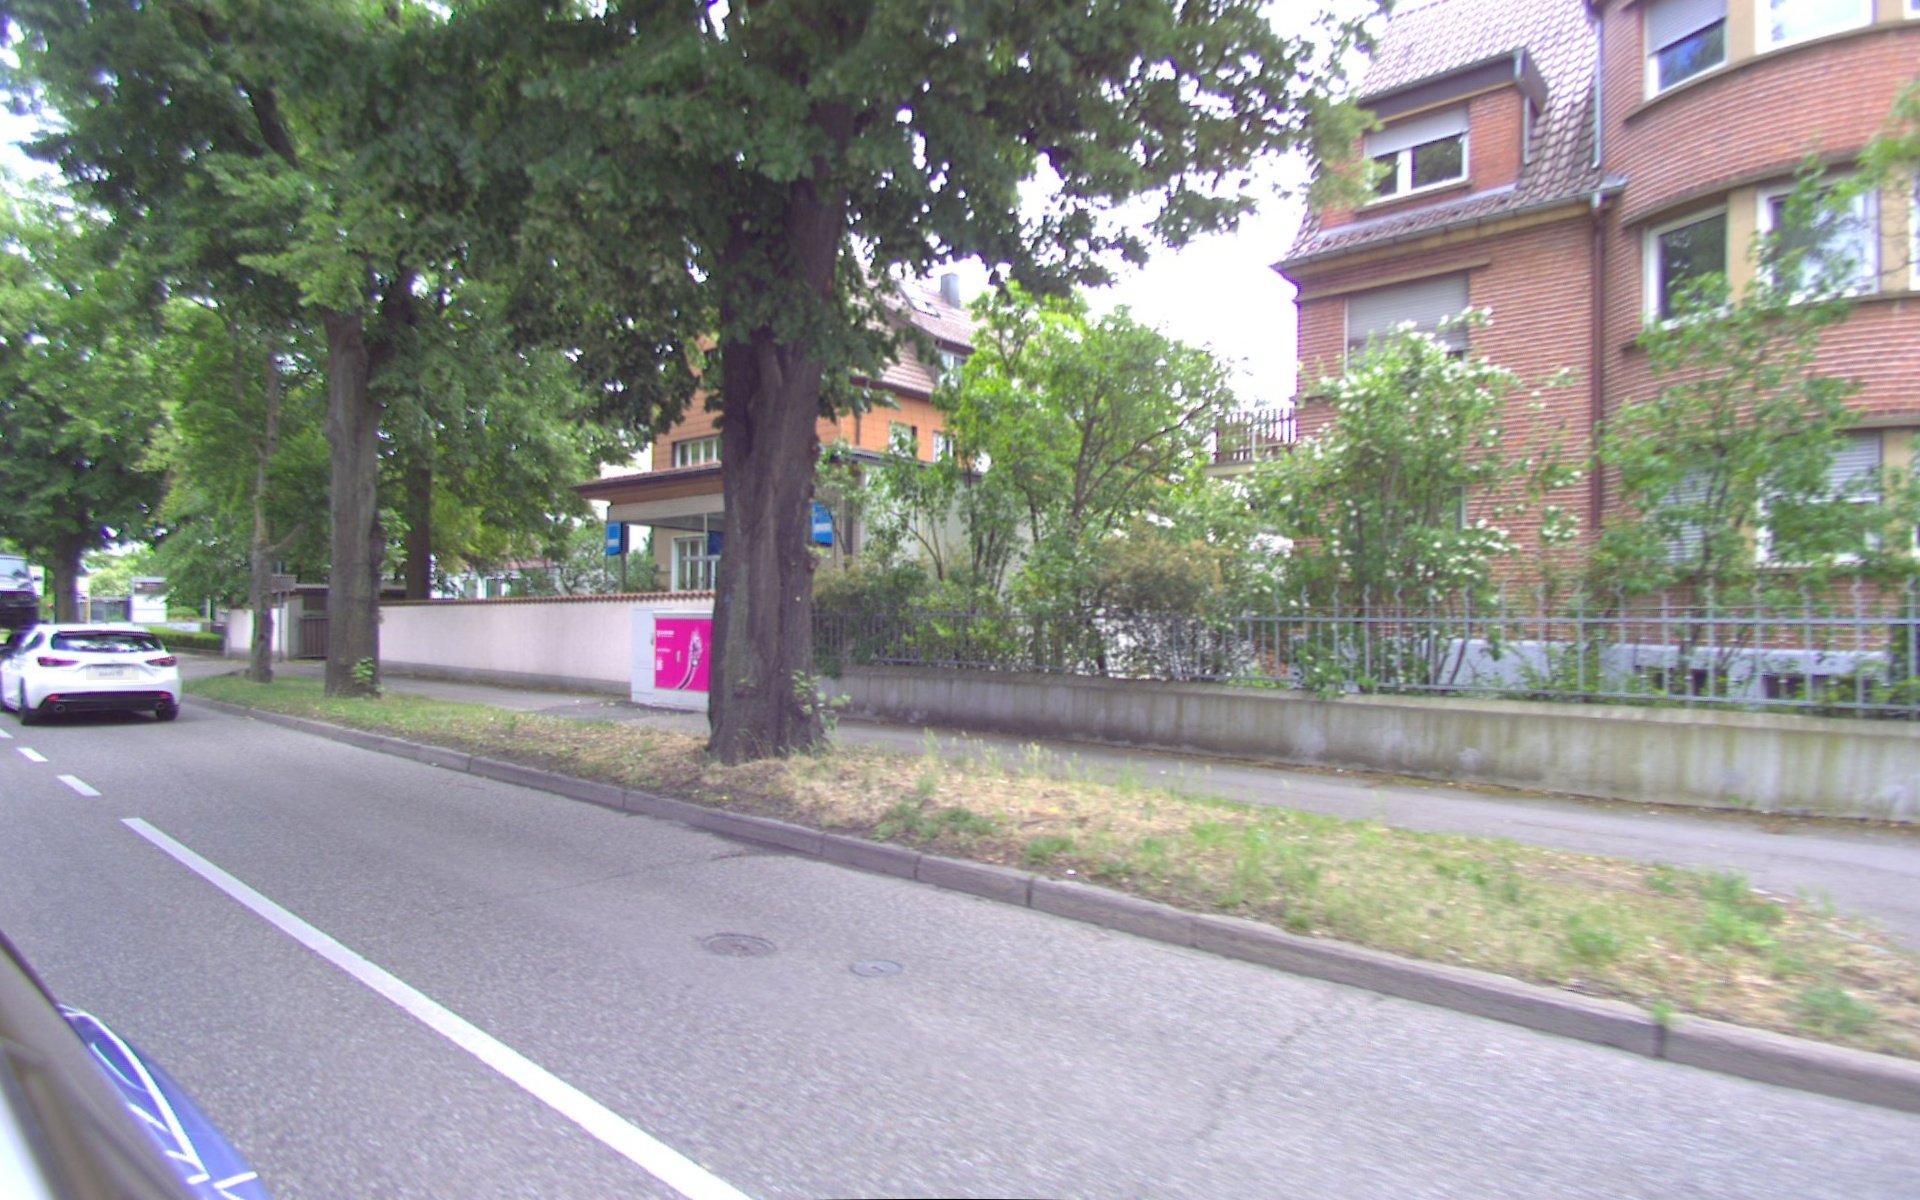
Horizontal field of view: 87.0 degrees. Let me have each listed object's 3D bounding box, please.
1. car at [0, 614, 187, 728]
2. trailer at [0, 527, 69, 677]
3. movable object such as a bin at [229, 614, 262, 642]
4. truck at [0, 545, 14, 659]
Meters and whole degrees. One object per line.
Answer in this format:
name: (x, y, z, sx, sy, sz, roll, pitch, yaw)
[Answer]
car: (-13.462, 1.012, 15.490, 4.225, 1.481, 1.748, 0, -4, 42)
trailer: (-29.970, 0.059, 30.597, 14.386, 3.837, 2.828, 0, 0, 42)
movable object such as a bin: (-38.923, 1.524, 55.116, 0.992, 1.476, 1.285, 0, 0, 41)
truck: (-35.845, 0.078, 35.823, 7.667, 3.811, 2.813, 0, 0, 42)
